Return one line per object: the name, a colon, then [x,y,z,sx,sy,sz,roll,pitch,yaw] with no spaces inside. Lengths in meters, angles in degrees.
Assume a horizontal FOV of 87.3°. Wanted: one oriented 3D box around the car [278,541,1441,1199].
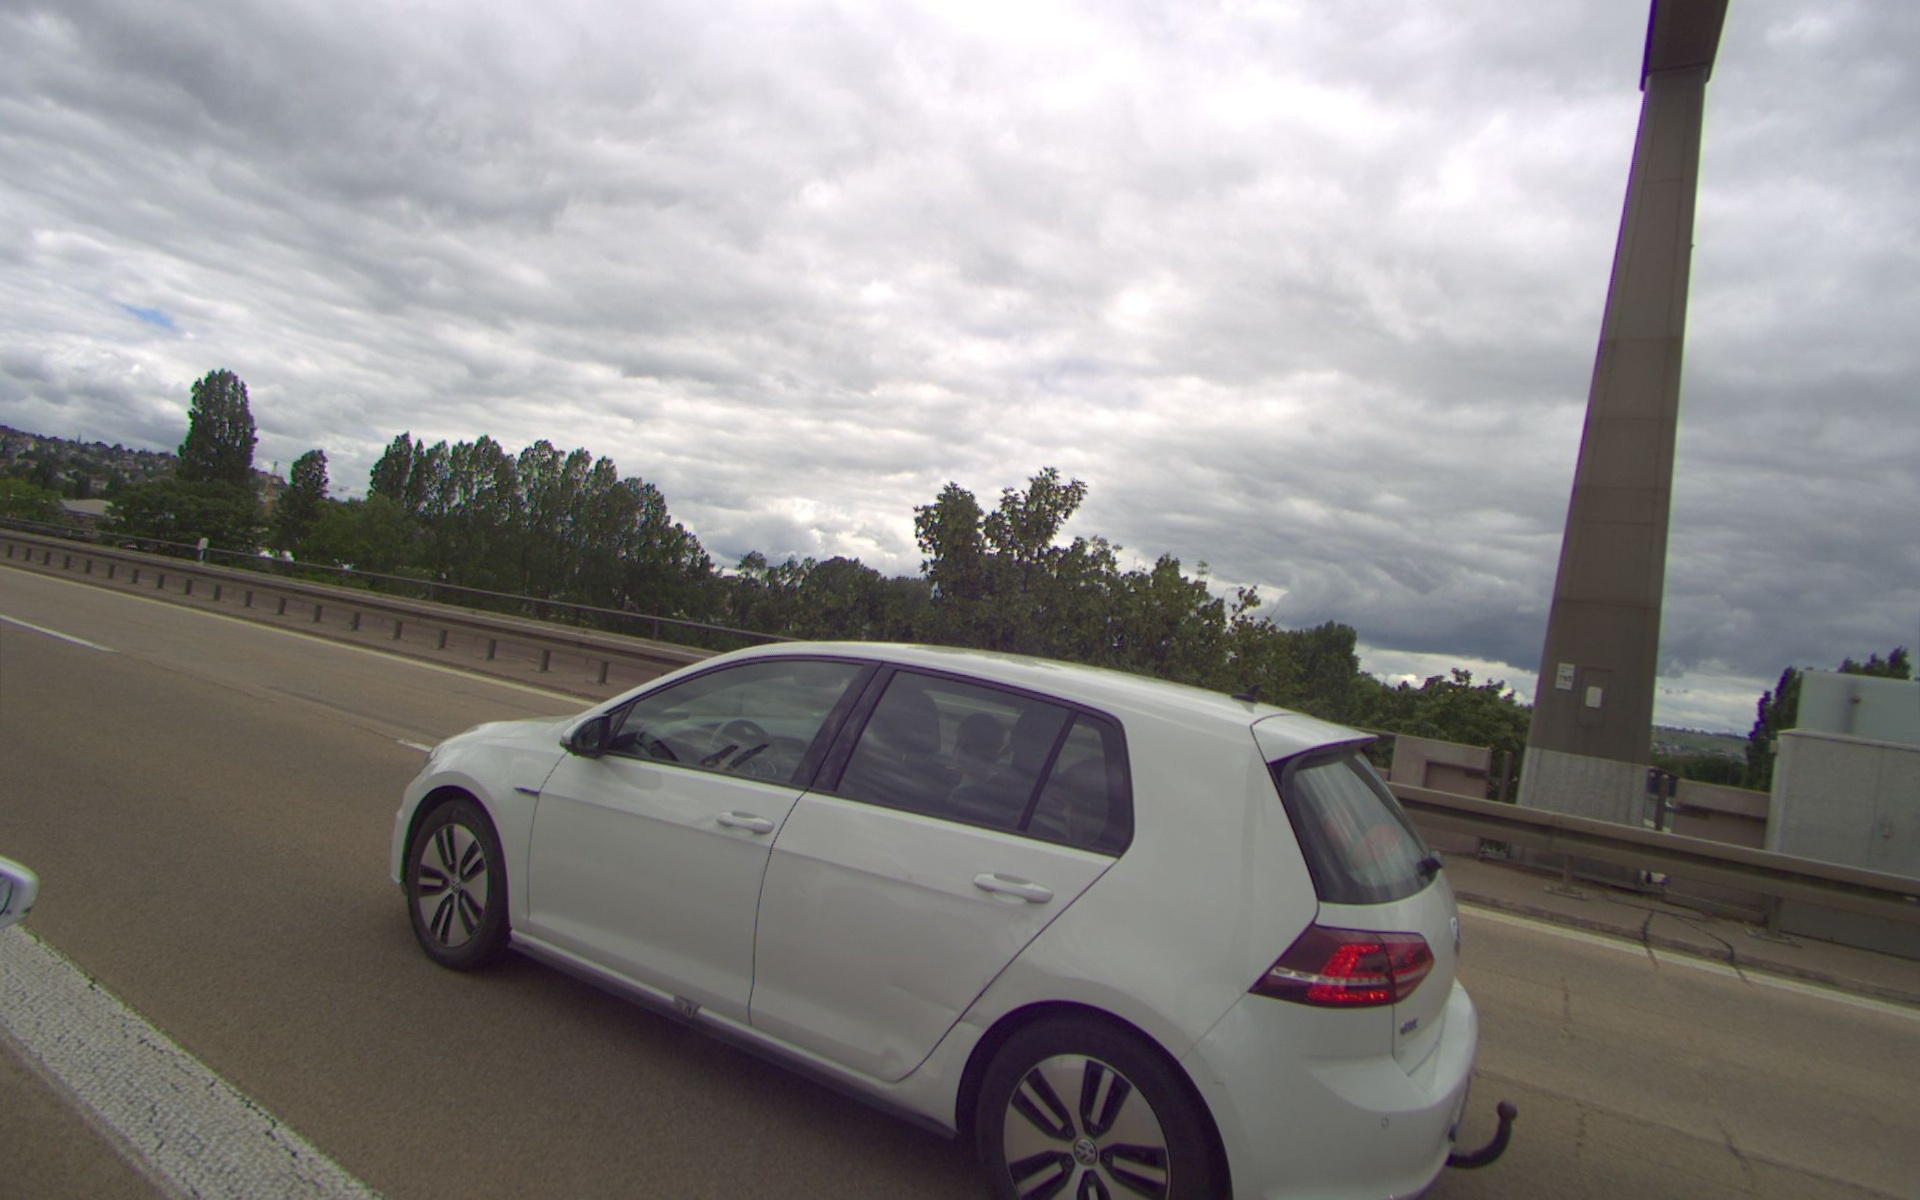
car: [-0.533,0.783,3.819,4.003,1.469,1.758,7,-1,30]
